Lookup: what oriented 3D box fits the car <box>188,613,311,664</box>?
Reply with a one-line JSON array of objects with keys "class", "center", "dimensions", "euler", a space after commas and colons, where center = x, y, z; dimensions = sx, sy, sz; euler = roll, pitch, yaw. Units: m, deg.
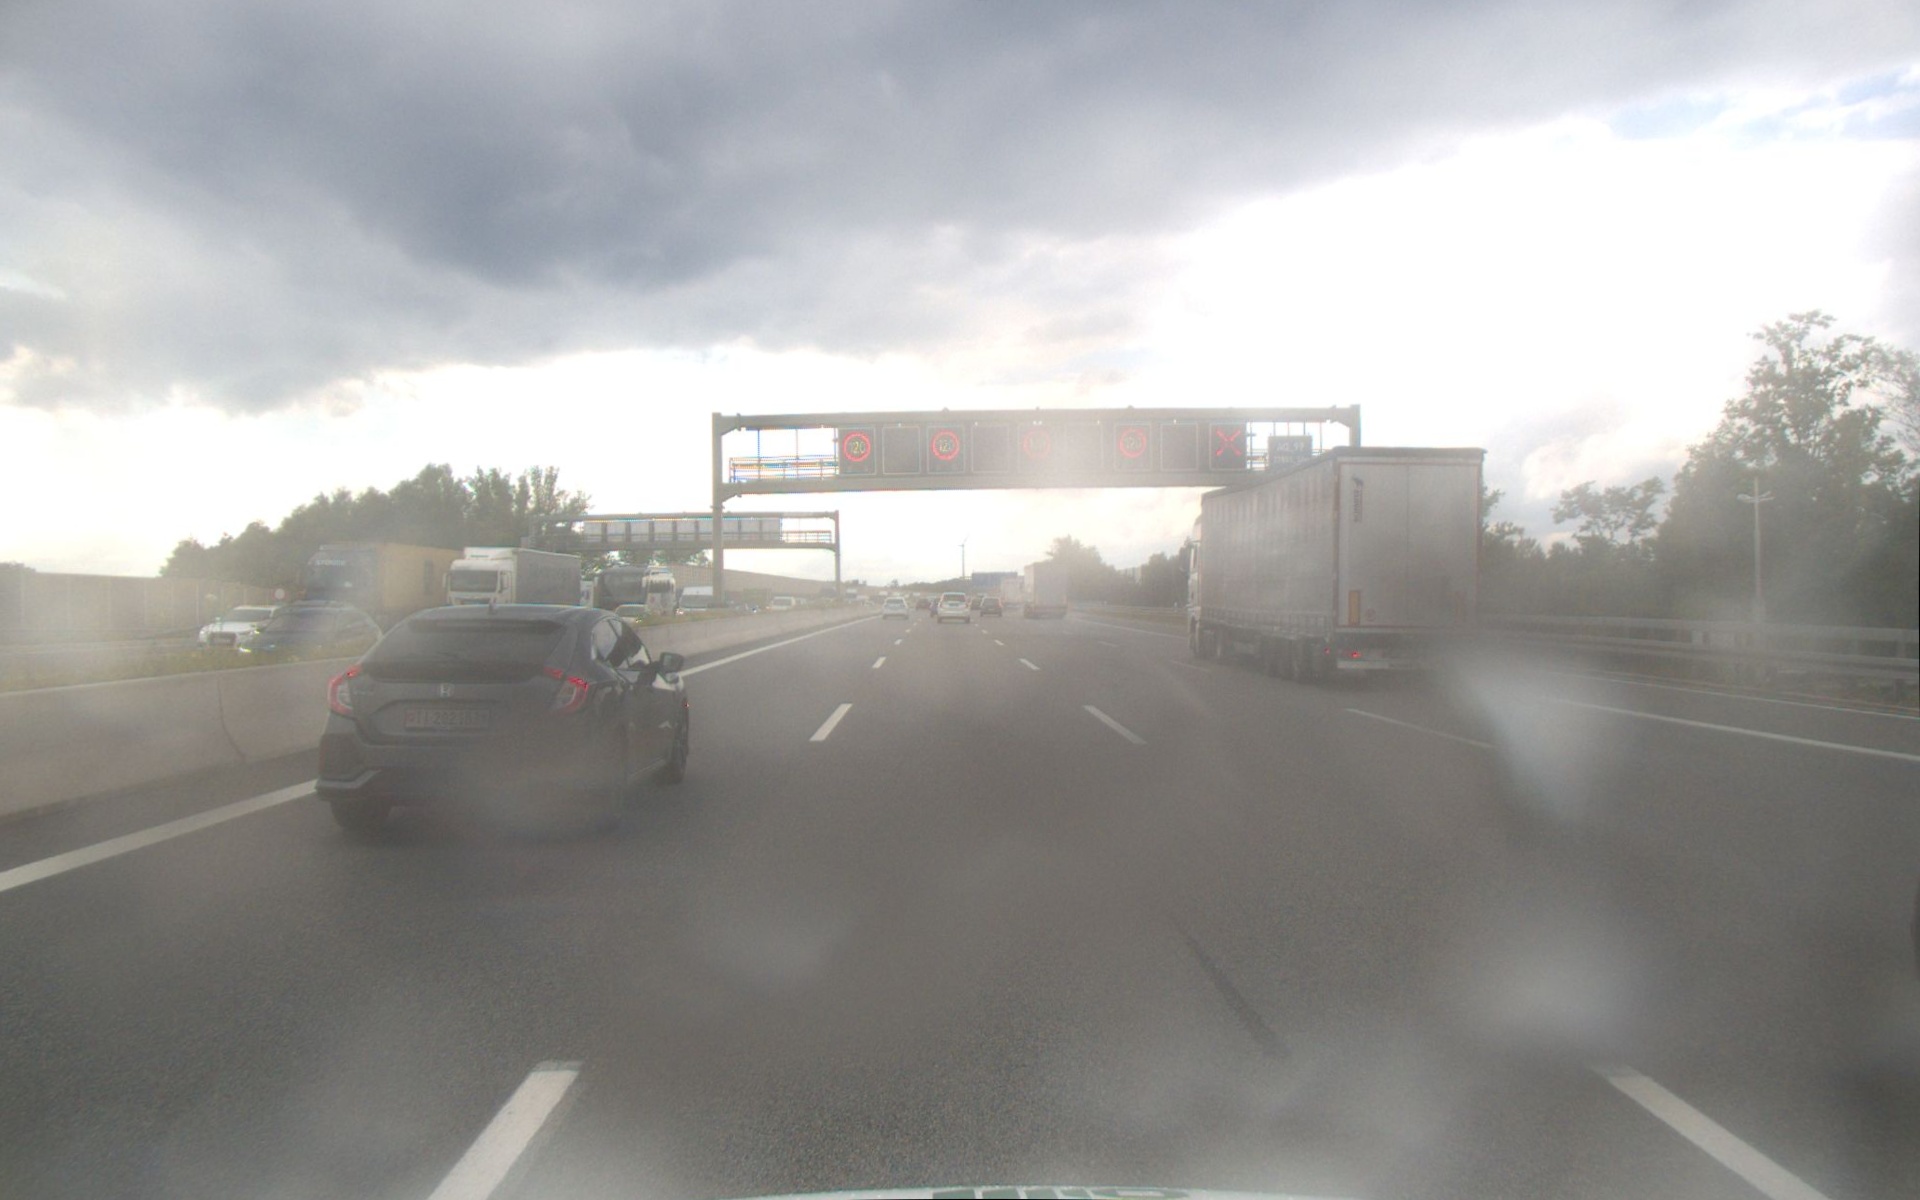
[{"class": "car", "center": [-21.533, 1.131, 50.352], "dimensions": [1.751, 1.406, 4.859], "euler": [1, 0, -2]}]

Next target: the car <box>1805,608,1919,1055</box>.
[{"class": "car", "center": [3.899, 0.770, 4.605], "dimensions": [1.418, 1.466, 3.163], "euler": [0, 0, -2]}]

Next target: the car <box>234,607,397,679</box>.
[{"class": "car", "center": [-13.894, 0.881, 35.951], "dimensions": [1.751, 1.406, 4.859], "euler": [1, 0, -2]}]

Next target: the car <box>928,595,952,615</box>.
[{"class": "car", "center": [-1.545, 0.386, 126.180], "dimensions": [1.737, 1.466, 4.053], "euler": [0, 0, -3]}]

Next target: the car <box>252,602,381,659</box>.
[{"class": "car", "center": [-17.507, 0.796, 45.258], "dimensions": [1.751, 1.406, 4.859], "euler": [1, 0, -2]}]

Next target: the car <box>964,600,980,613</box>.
[{"class": "car", "center": [1.356, 0.794, 192.275], "dimensions": [1.798, 1.466, 4.054], "euler": [0, 0, -1]}]

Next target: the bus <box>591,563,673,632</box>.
[{"class": "bus", "center": [-18.725, -0.118, 95.067], "dimensions": [2.599, 3.744, 10.633], "euler": [0, 0, 0]}]

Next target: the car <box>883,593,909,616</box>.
[{"class": "car", "center": [-4.366, 0.282, 112.159], "dimensions": [1.737, 1.466, 3.872], "euler": [0, 0, -2]}]

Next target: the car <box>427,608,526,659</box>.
[{"class": "car", "center": [-14.469, 0.967, 49.757], "dimensions": [1.751, 1.406, 4.587], "euler": [1, 0, -2]}]

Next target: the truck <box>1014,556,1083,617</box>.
[{"class": "truck", "center": [6.575, -0.992, 125.342], "dimensions": [4.096, 4.363, 12.608], "euler": [1, 0, -2]}]

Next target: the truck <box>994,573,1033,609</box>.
[{"class": "truck", "center": [6.541, -1.141, 205.381], "dimensions": [4.157, 4.249, 11.987], "euler": [1, 0, -1]}]

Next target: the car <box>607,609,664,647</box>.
[{"class": "car", "center": [-14.068, 1.185, 71.939], "dimensions": [1.701, 1.566, 4.375], "euler": [1, 0, -2]}]

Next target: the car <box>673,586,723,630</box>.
[{"class": "car", "center": [-15.068, 0.428, 95.323], "dimensions": [2.093, 2.393, 5.708], "euler": [1, 0, -2]}]

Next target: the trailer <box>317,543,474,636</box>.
[{"class": "trailer", "center": [-26.418, -0.444, 78.242], "dimensions": [2.967, 4.002, 12.973], "euler": [0, 0, 0]}]

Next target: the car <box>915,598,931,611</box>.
[{"class": "car", "center": [-4.305, 0.462, 193.041], "dimensions": [1.737, 1.466, 4.053], "euler": [0, 0, -3]}]

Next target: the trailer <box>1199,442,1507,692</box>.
[{"class": "trailer", "center": [7.469, -0.590, 34.200], "dimensions": [2.901, 4.090, 14.117], "euler": [0, 0, 0]}]

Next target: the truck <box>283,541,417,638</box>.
[{"class": "truck", "center": [-26.421, -0.419, 72.063], "dimensions": [2.967, 4.002, 7.710], "euler": [0, 0, 0]}]

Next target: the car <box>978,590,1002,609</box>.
[{"class": "car", "center": [2.394, -0.045, 134.446], "dimensions": [1.798, 1.466, 4.054], "euler": [0, 0, -1]}]

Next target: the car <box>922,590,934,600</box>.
[{"class": "car", "center": [-4.860, -0.792, 250.407], "dimensions": [1.736, 1.466, 4.054], "euler": [0, 0, -1]}]

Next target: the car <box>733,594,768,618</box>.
[{"class": "car", "center": [-19.014, 0.529, 150.607], "dimensions": [2.399, 2.087, 6.193], "euler": [0, 0, 0]}]

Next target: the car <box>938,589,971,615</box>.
[{"class": "car", "center": [-0.353, 0.120, 97.111], "dimensions": [1.737, 1.466, 4.053], "euler": [0, 0, -3]}]

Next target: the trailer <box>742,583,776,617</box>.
[{"class": "trailer", "center": [-19.019, -0.013, 156.745], "dimensions": [2.399, 3.193, 6.050], "euler": [0, 0, 0]}]

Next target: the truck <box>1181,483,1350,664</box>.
[{"class": "truck", "center": [7.391, -0.628, 40.901], "dimensions": [2.901, 4.090, 6.588], "euler": [0, 0, -1]}]

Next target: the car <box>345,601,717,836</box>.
[{"class": "car", "center": [-2.990, 0.727, 12.648], "dimensions": [1.725, 1.393, 5.057], "euler": [0, 0, -3]}]

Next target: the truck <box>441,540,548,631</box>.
[{"class": "truck", "center": [-21.766, -0.653, 77.728], "dimensions": [2.827, 4.031, 7.535], "euler": [1, 0, 0]}]

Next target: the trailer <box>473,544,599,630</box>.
[{"class": "trailer", "center": [-21.800, -0.633, 86.068], "dimensions": [2.827, 4.031, 14.298], "euler": [1, 0, 0]}]
